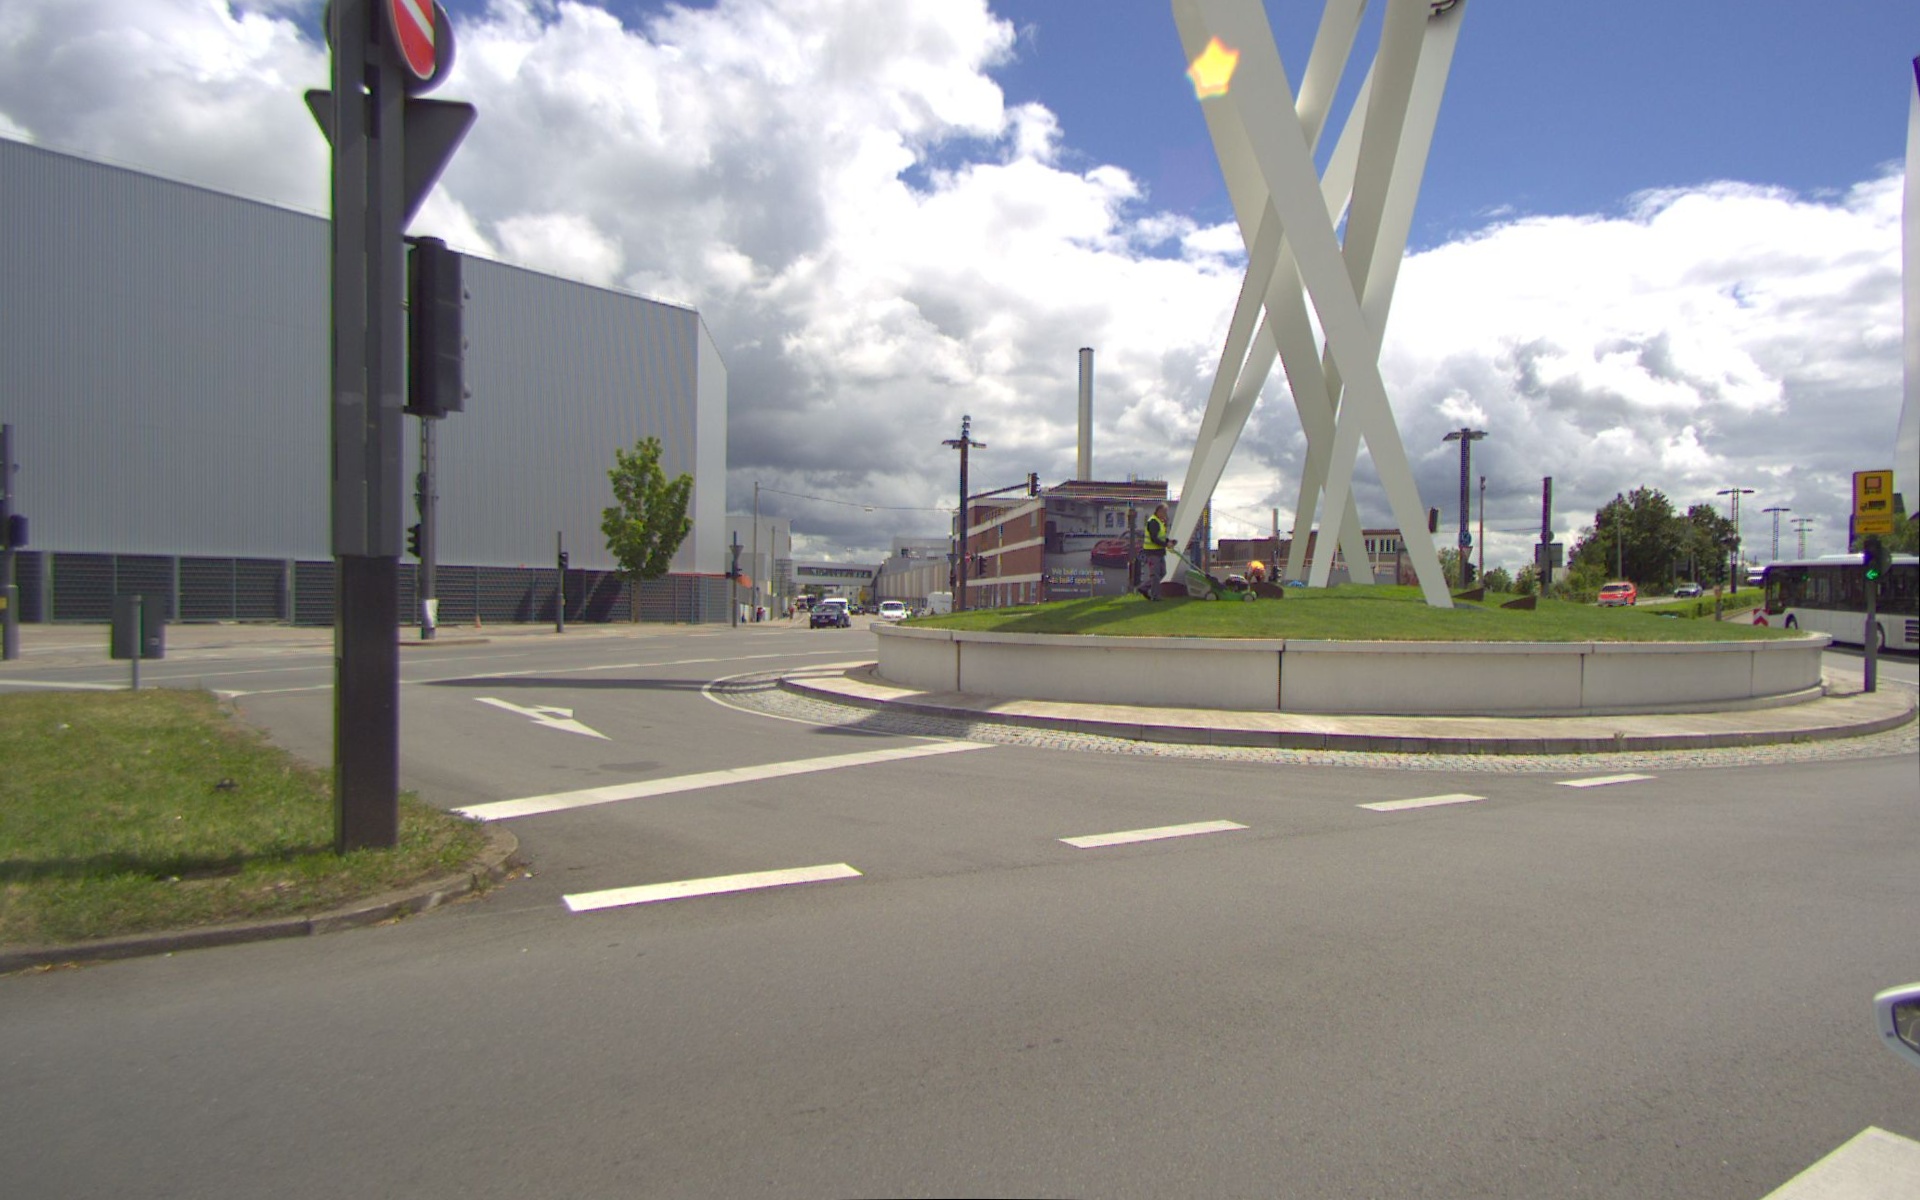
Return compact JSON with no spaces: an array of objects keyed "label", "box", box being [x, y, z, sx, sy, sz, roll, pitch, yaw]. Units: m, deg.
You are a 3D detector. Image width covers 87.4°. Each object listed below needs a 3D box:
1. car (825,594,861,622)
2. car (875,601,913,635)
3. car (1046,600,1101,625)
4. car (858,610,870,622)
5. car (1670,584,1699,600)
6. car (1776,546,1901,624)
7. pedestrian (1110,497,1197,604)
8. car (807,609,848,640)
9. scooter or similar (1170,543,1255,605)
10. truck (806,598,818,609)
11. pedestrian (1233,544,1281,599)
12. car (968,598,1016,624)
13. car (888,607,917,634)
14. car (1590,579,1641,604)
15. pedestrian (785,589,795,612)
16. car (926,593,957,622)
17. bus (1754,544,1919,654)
[{"label":"car","box":[-7.282,0.473,62.844,1.962,1.645,4.289,3,0,-3]},{"label":"car","box":[-3.806,1.009,58.494,1.874,1.820,3.776,3,0,1]},{"label":"car","box":[7.990,0.852,70.854,1.974,1.520,3.973,3,0,-26]},{"label":"car","box":[-18.181,2.988,189.858,1.963,2.199,4.650,3,0,-7]},{"label":"car","box":[73.939,-0.818,102.444,1.736,1.417,4.644,3,4,44]},{"label":"car","box":[44.864,-0.660,51.631,3.288,3.550,9.319,3,0,32]},{"label":"pedestrian","box":[3.485,-0.895,18.057,1.262,1.842,0.985,-1,5,27]},{"label":"car","box":[-7.483,1.384,56.992,1.768,1.577,3.957,3,0,-1]},{"label":"scooter or similar","box":[4.476,-0.481,17.801,1.378,1.040,0.549,2,6,24]},{"label":"truck","box":[-37.724,0.809,255.826,2.309,2.574,7.262,3,0,-13]},{"label":"pedestrian","box":[8.440,-0.805,28.570,0.952,1.424,0.851,3,-6,-25]},{"label":"car","box":[2.503,0.878,80.010,2.178,1.882,4.493,3,0,-22]},{"label":"car","box":[-3.834,1.353,66.906,1.790,1.577,4.222,3,0,-4]},{"label":"car","box":[54.655,-0.700,83.723,4.789,2.010,1.980,0,0,-36]},{"label":"pedestrian","box":[-13.613,0.004,80.481,0.737,1.795,0.824,3,0,-10]},{"label":"car","box":[-1.563,0.592,83.300,1.963,2.199,4.650,3,0,-7]},{"label":"bus","box":[33.151,-0.065,36.294,3.021,3.407,12.221,3,2,19]}]
